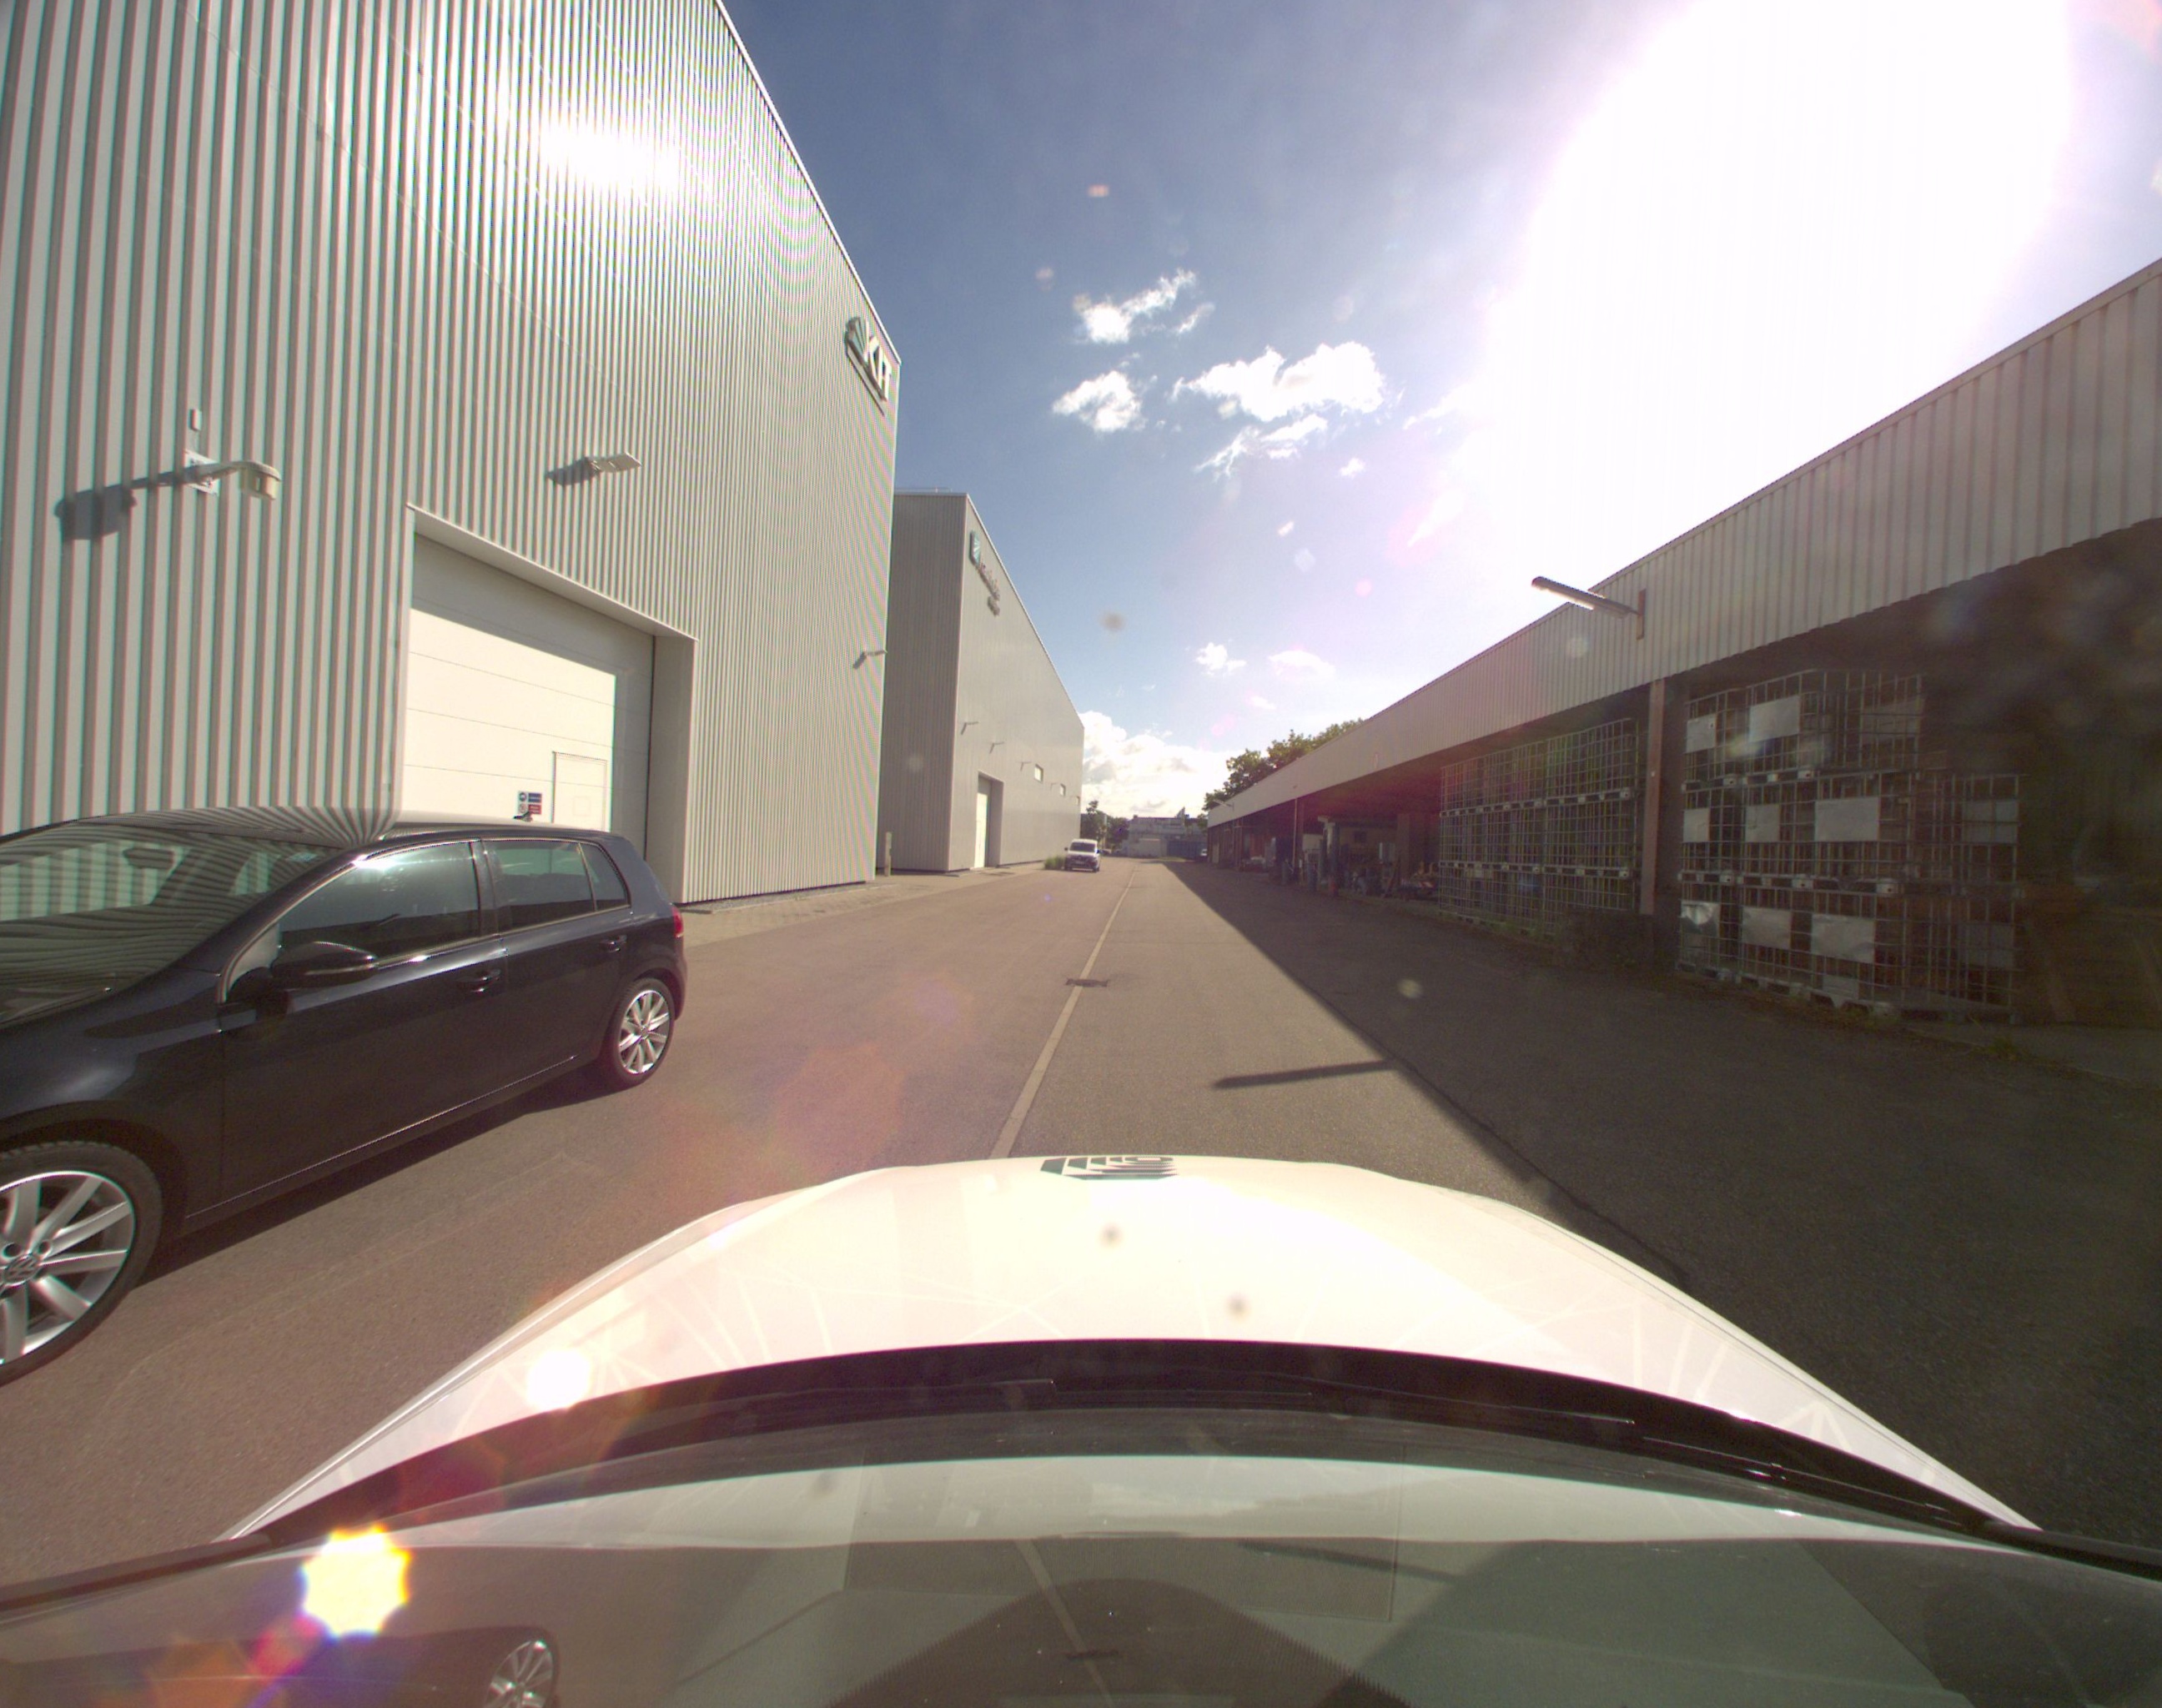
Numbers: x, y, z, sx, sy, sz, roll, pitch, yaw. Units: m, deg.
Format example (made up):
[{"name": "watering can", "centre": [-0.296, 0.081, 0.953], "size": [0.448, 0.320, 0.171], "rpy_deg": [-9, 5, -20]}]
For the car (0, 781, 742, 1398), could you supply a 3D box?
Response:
[{"name": "car", "centre": [-3.383, 0.523, 3.420], "size": [1.746, 1.500, 4.299], "rpy_deg": [4, 1, 4]}]

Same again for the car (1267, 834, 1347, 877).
[{"name": "car", "centre": [13.939, 0.112, 50.521], "size": [4.412, 2.309, 1.918], "rpy_deg": [4, -1, 5]}]

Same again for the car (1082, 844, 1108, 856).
[{"name": "car", "centre": [2.277, -0.699, 128.464], "size": [3.970, 1.598, 1.743], "rpy_deg": [4, -1, 3]}]

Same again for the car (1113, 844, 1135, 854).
[{"name": "car", "centre": [8.250, -0.880, 156.039], "size": [3.970, 1.598, 1.849], "rpy_deg": [4, -1, 3]}]

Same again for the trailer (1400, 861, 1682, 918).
[{"name": "trailer", "centre": [11.284, 0.850, 20.343], "size": [5.824, 1.133, 2.143], "rpy_deg": [2, 1, 2]}]

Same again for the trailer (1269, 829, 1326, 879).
[{"name": "trailer", "centre": [11.097, 0.007, 41.895], "size": [2.511, 2.399, 1.729], "rpy_deg": [2, 0, 5]}]

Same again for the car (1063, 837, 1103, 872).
[{"name": "car", "centre": [0.154, -0.006, 46.104], "size": [1.810, 1.787, 4.411], "rpy_deg": [4, 1, 5]}]

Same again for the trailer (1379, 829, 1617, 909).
[{"name": "trailer", "centre": [11.850, 0.384, 23.523], "size": [5.738, 2.032, 2.081], "rpy_deg": [2, 1, 5]}]

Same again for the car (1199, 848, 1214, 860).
[{"name": "car", "centre": [17.692, -0.048, 114.967], "size": [1.952, 1.564, 4.066], "rpy_deg": [4, 1, 6]}]
